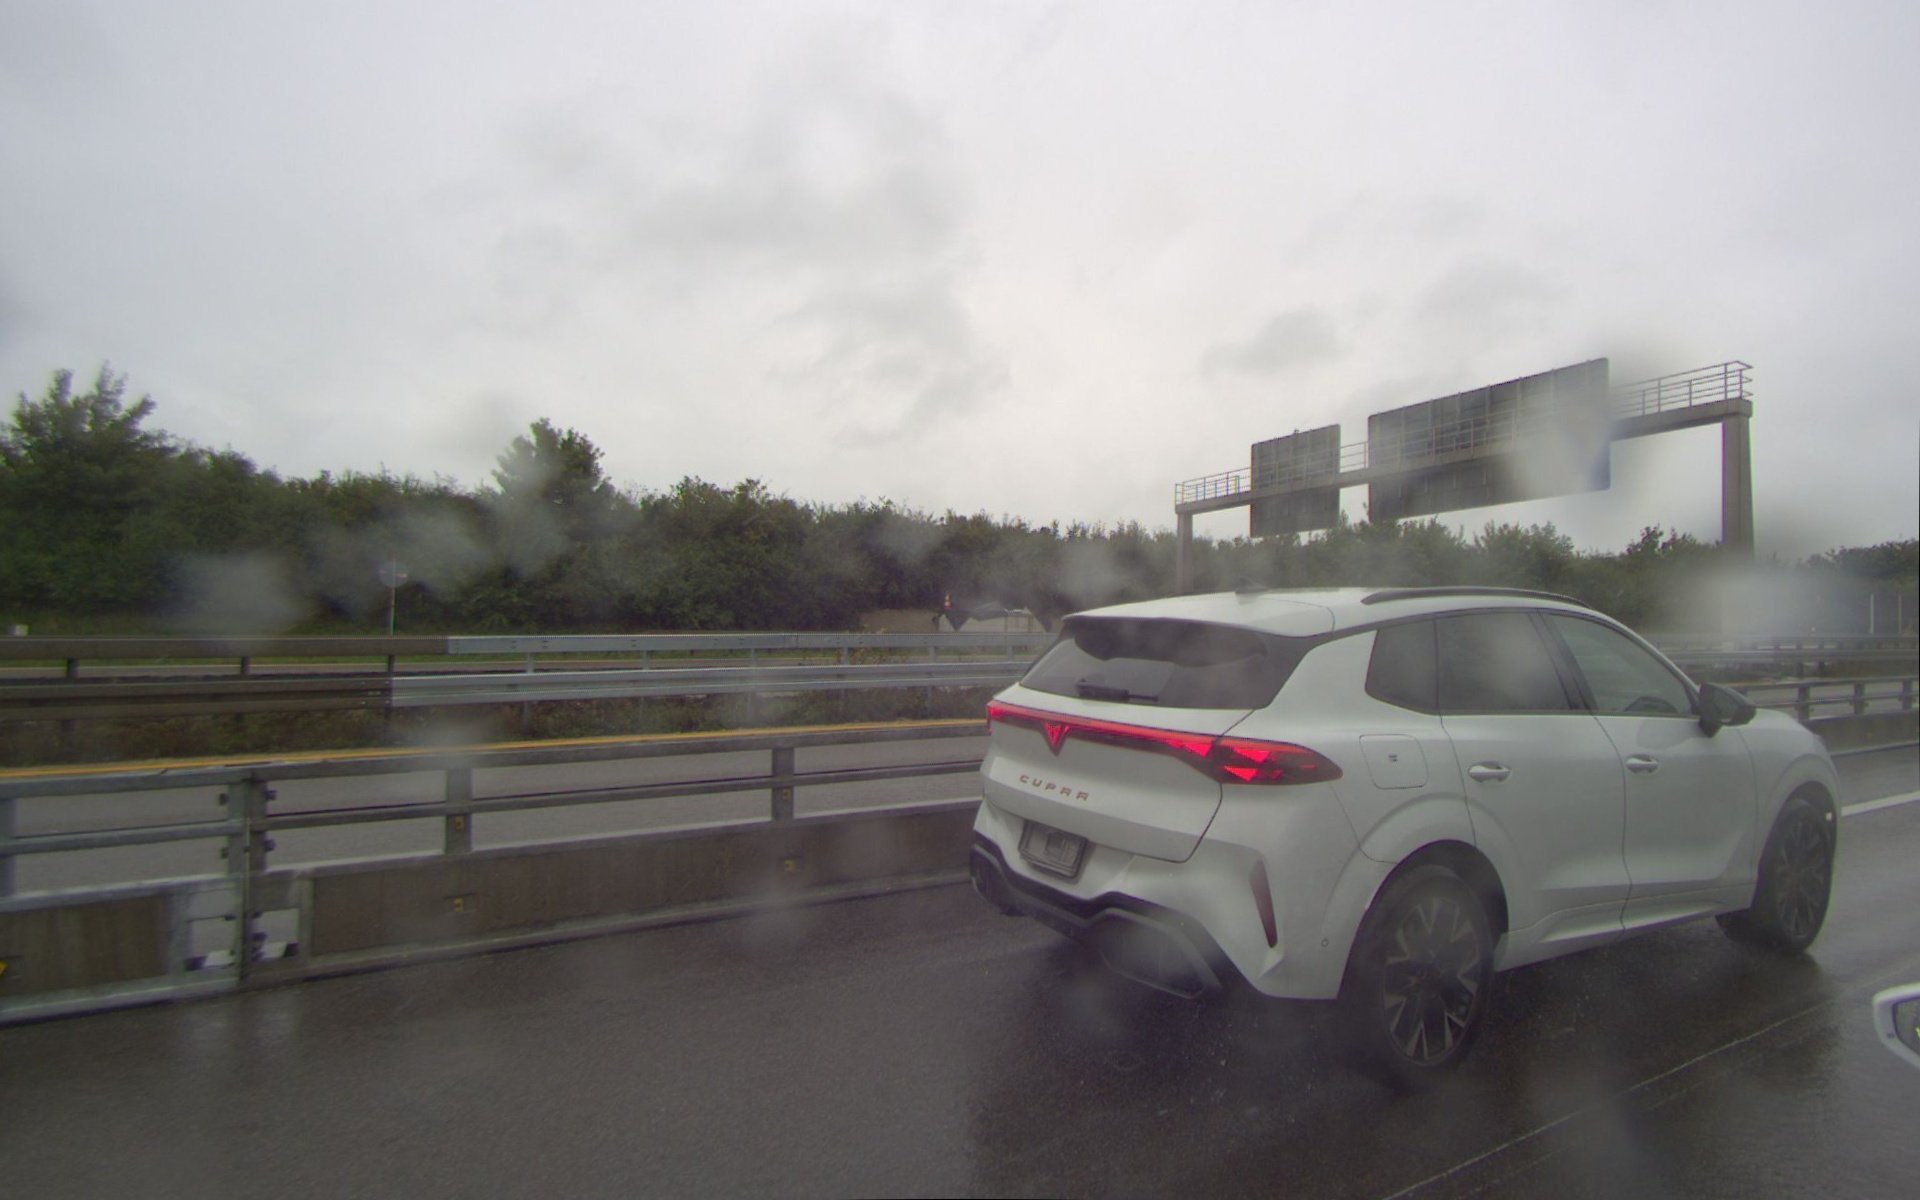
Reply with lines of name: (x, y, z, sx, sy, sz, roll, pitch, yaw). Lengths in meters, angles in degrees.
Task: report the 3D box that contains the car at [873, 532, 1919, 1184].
car: (2.173, 0.691, 4.591, 4.740, 1.639, 1.984, 1, 0, -30)
